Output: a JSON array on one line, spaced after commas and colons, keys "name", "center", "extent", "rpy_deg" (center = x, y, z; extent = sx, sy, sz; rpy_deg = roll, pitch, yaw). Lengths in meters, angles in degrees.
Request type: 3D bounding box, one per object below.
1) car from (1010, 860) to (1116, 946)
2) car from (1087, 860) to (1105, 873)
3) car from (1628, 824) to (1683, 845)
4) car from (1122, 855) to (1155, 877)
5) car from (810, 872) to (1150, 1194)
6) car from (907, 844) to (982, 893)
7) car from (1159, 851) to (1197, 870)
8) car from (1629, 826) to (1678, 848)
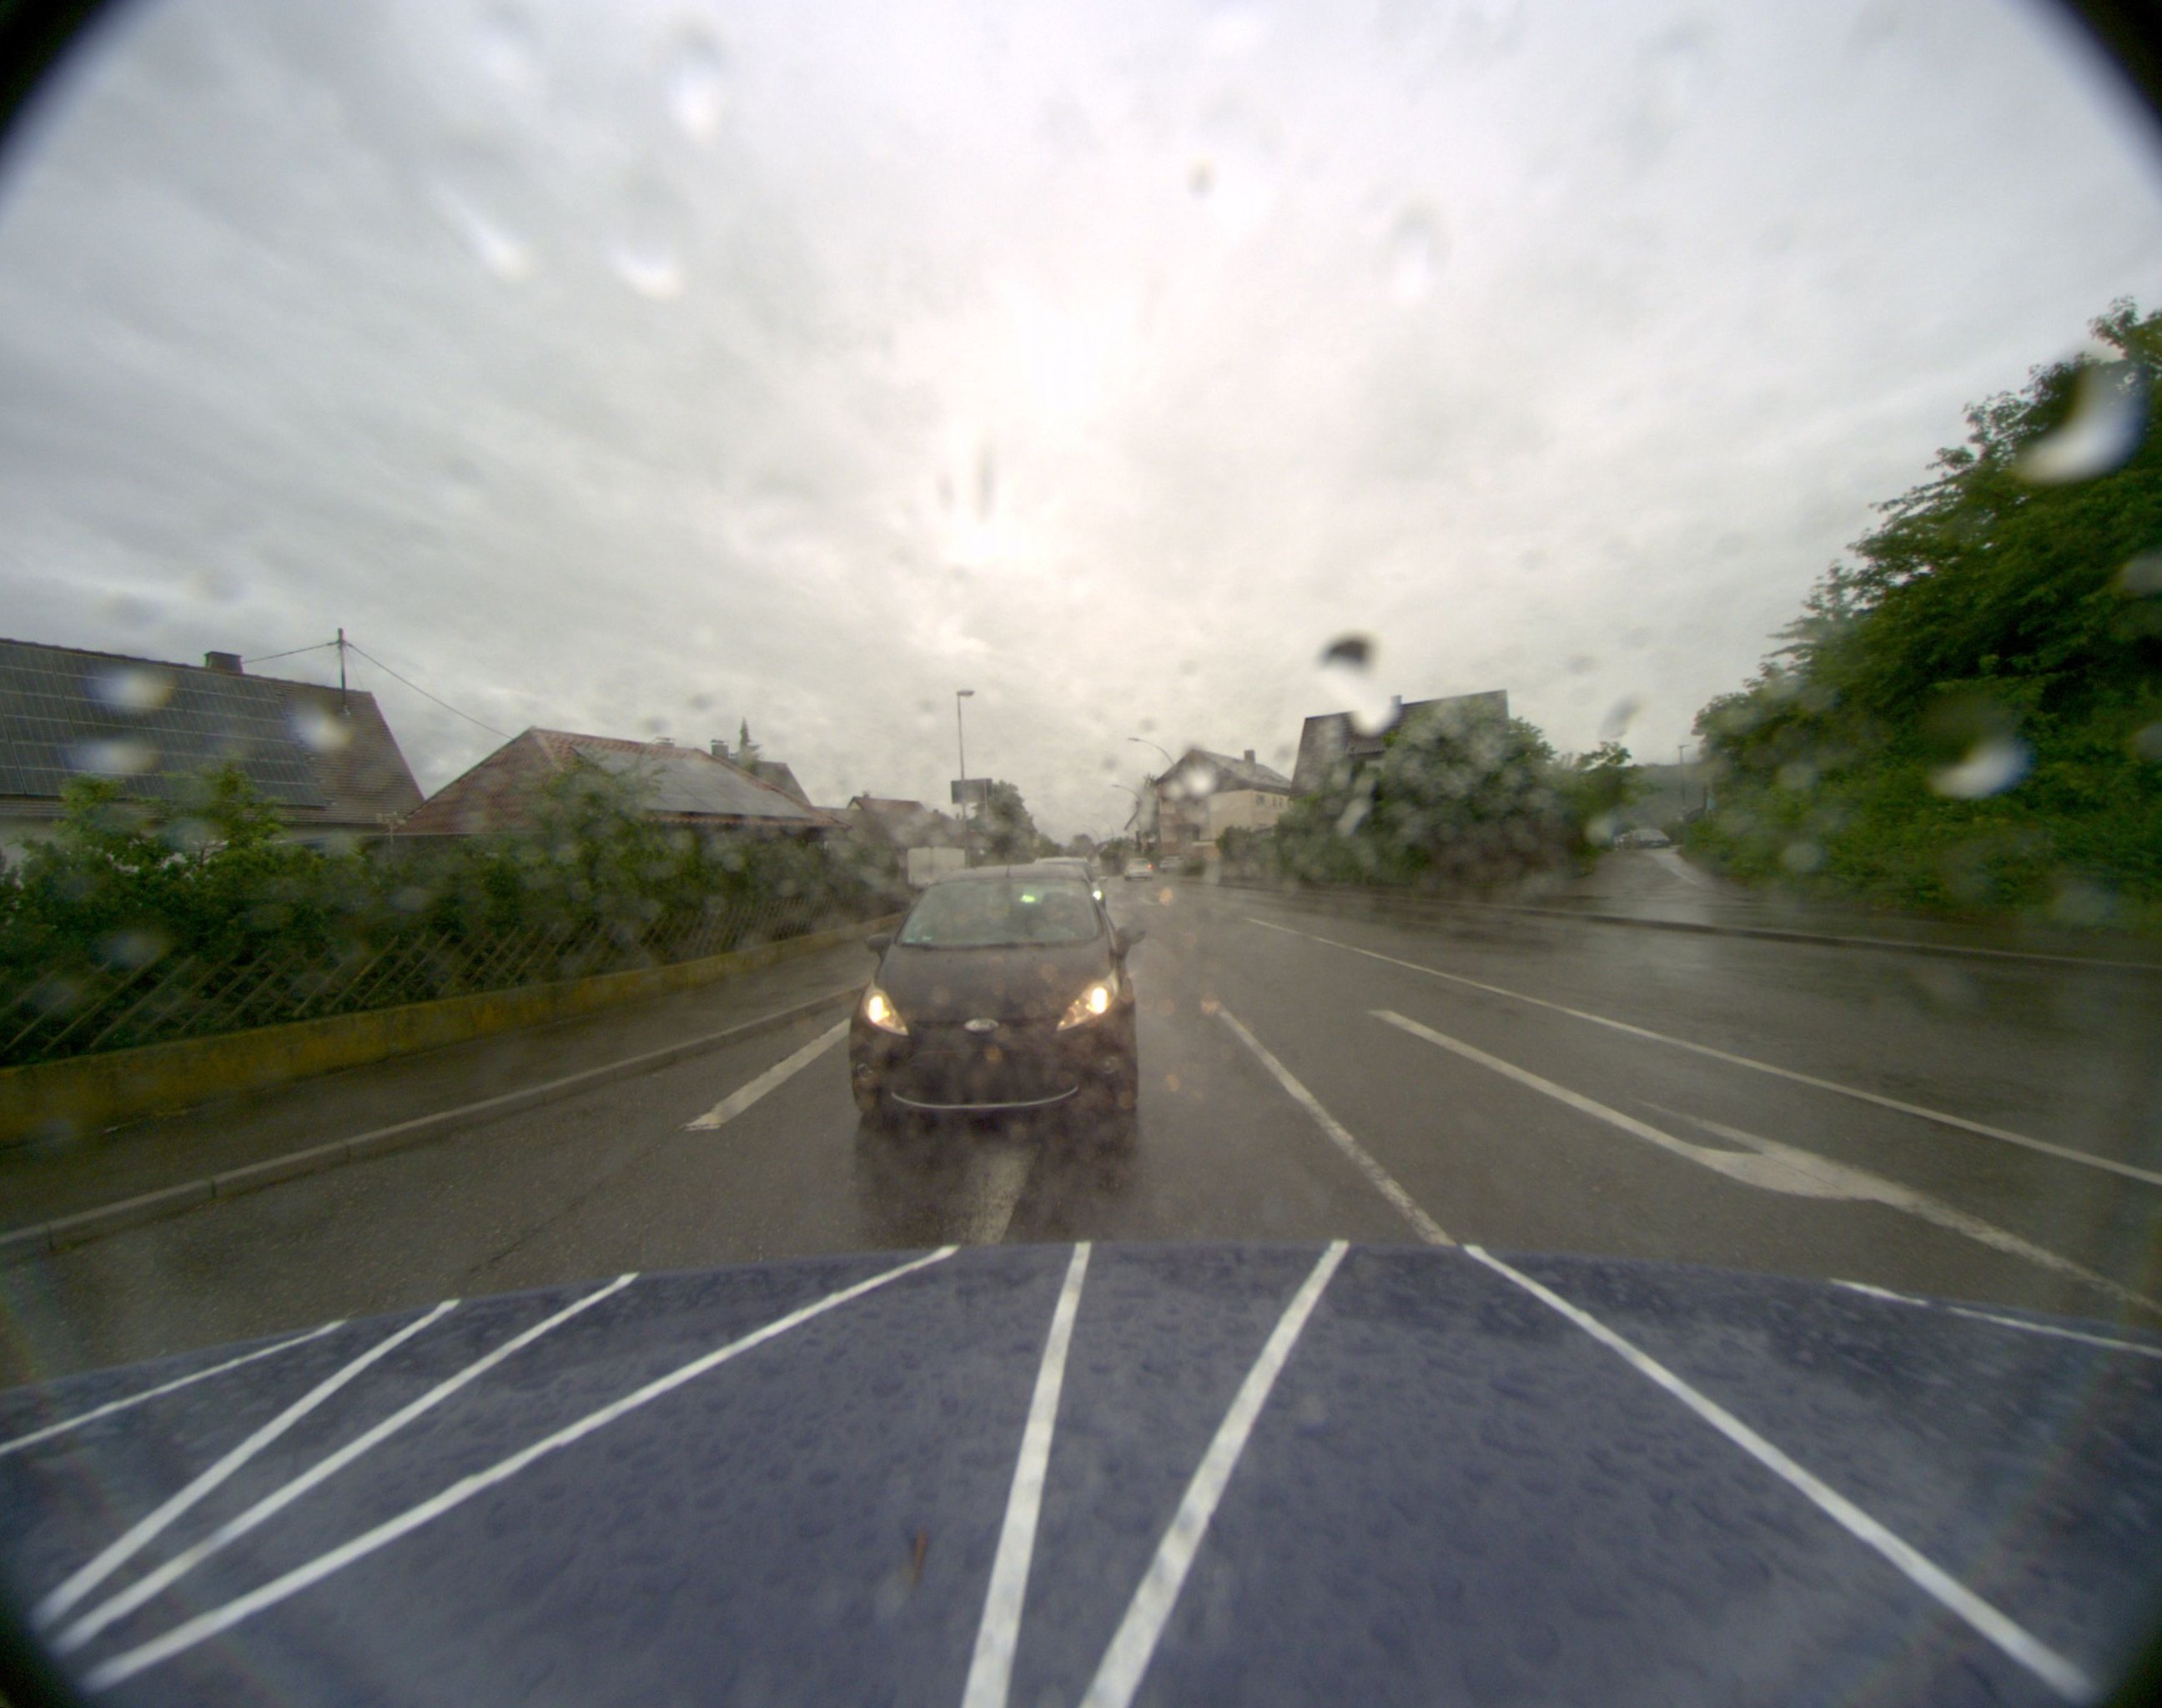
[{"name": "car", "center": [-0.420, 0.922, 16.038], "extent": [1.899, 1.474, 3.999], "rpy_deg": [-2, 0, -3]}, {"name": "car", "center": [1.936, 1.619, 99.630], "extent": [1.669, 1.496, 4.319], "rpy_deg": [-3, 1, -7]}, {"name": "car", "center": [45.653, -1.538, 60.498], "extent": [1.997, 1.477, 4.003], "rpy_deg": [-3, 1, 13]}, {"name": "car", "center": [3.993, 0.813, 53.144], "extent": [1.625, 1.496, 3.820], "rpy_deg": [-1, 0, -6]}, {"name": "car", "center": [-0.556, 0.959, 5.833], "extent": [1.666, 1.410, 3.931], "rpy_deg": [-2, 1, -2]}, {"name": "car", "center": [-6.984, 0.703, 39.393], "extent": [1.650, 2.337, 4.006], "rpy_deg": [-2, 1, 27]}, {"name": "car", "center": [8.699, 0.575, 67.715], "extent": [1.661, 1.538, 4.007], "rpy_deg": [-1, 1, 34]}, {"name": "car", "center": [40.511, -1.186, 53.842], "extent": [1.895, 1.474, 4.006], "rpy_deg": [-2, 0, 24]}]
